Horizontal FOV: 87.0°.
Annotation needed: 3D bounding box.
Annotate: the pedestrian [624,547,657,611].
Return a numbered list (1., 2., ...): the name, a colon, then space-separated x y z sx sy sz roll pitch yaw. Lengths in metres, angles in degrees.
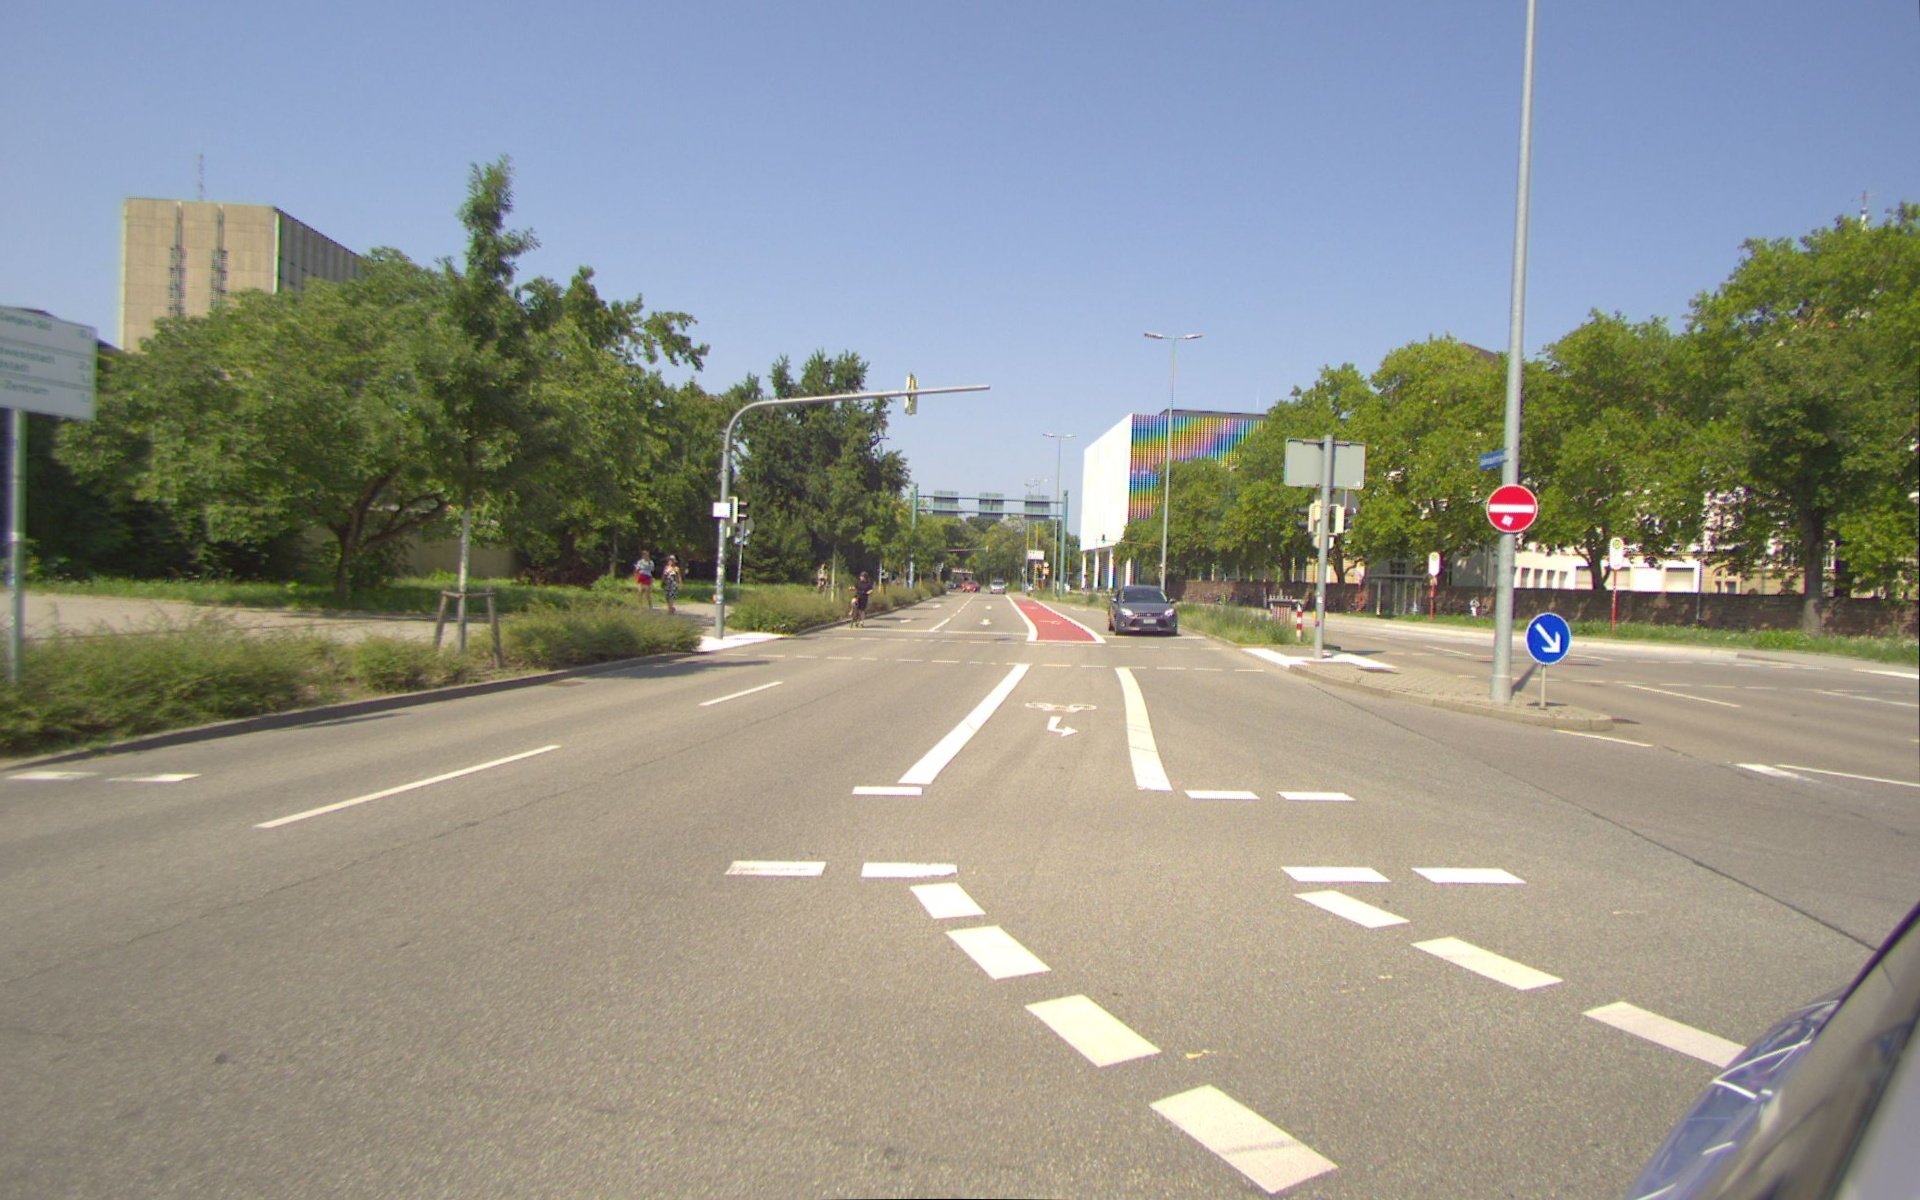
1. pedestrian: -9.183 -0.612 29.134 0.681 1.793 0.587 3 1 3

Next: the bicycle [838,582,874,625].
1. bicycle: -3.125 0.087 30.440 0.772 1.227 1.788 3 1 3

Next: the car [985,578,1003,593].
1. car: 3.888 -1.667 116.255 1.963 1.699 3.998 2 1 2

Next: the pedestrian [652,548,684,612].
1. pedestrian: -8.406 -0.574 29.163 0.681 1.793 0.587 3 1 3

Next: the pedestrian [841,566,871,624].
1. pedestrian: -3.113 -0.145 30.359 0.766 1.690 0.548 3 1 3

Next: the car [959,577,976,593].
1. car: 0.946 -1.926 132.444 2.044 1.940 4.197 3 1 -1

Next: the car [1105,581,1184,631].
1. car: 5.395 0.133 29.971 1.758 1.374 3.423 1 1 2

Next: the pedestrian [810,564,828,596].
1. pedestrian: -7.865 -1.117 56.487 0.779 1.790 0.826 2 1 3

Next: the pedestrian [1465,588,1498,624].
1. pedestrian: 30.959 0.341 60.060 1.049 2.038 1.238 3 1 -21
